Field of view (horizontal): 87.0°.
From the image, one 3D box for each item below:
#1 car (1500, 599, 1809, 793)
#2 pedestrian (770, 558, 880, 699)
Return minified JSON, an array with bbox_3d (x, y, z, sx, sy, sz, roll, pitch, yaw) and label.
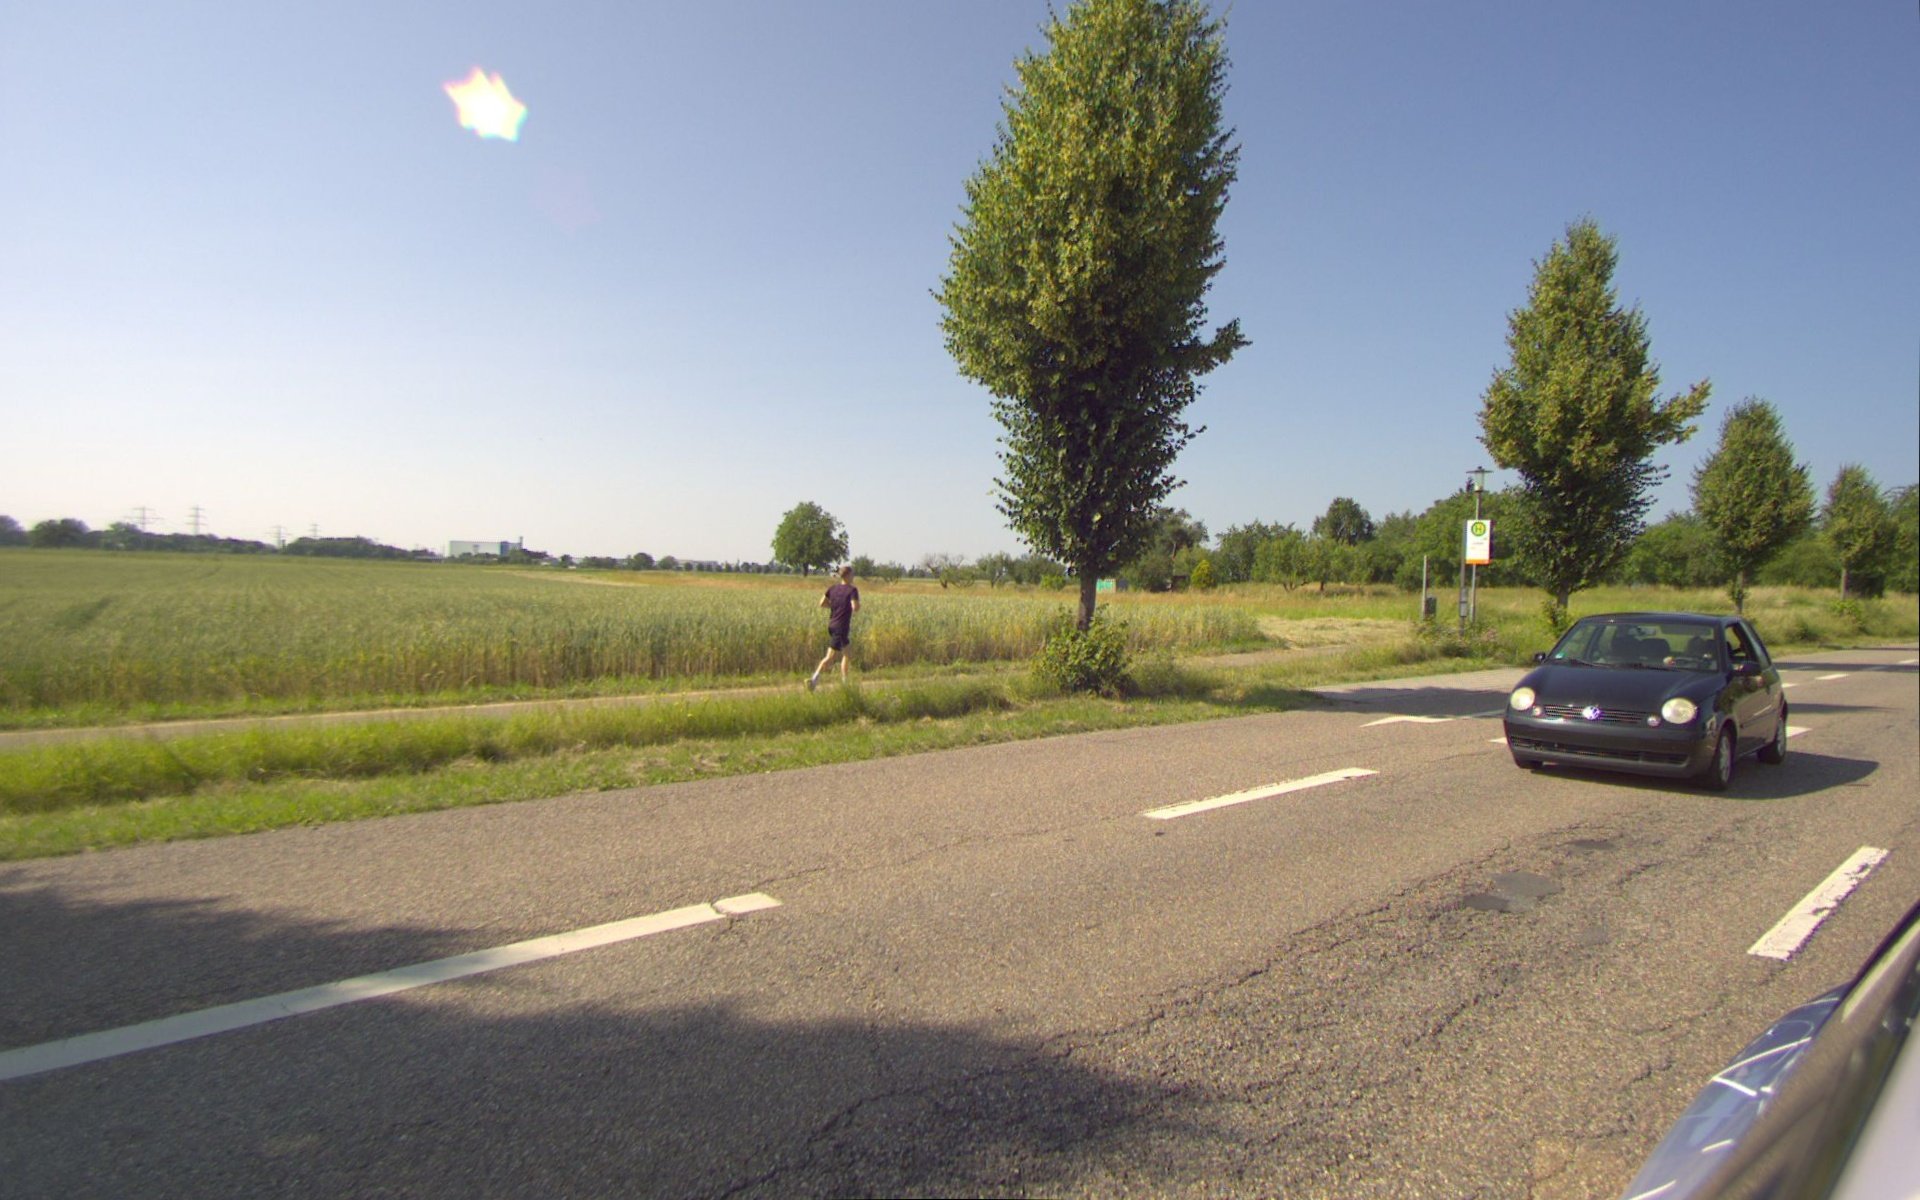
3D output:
[{"bbox_3d":[6.544,0.727,9.406,3.561,1.451,1.627,0,0,-43],"label":"car"},{"bbox_3d":[-1.871,0.368,14.054,1.174,1.862,0.903,1,1,-43],"label":"pedestrian"}]
